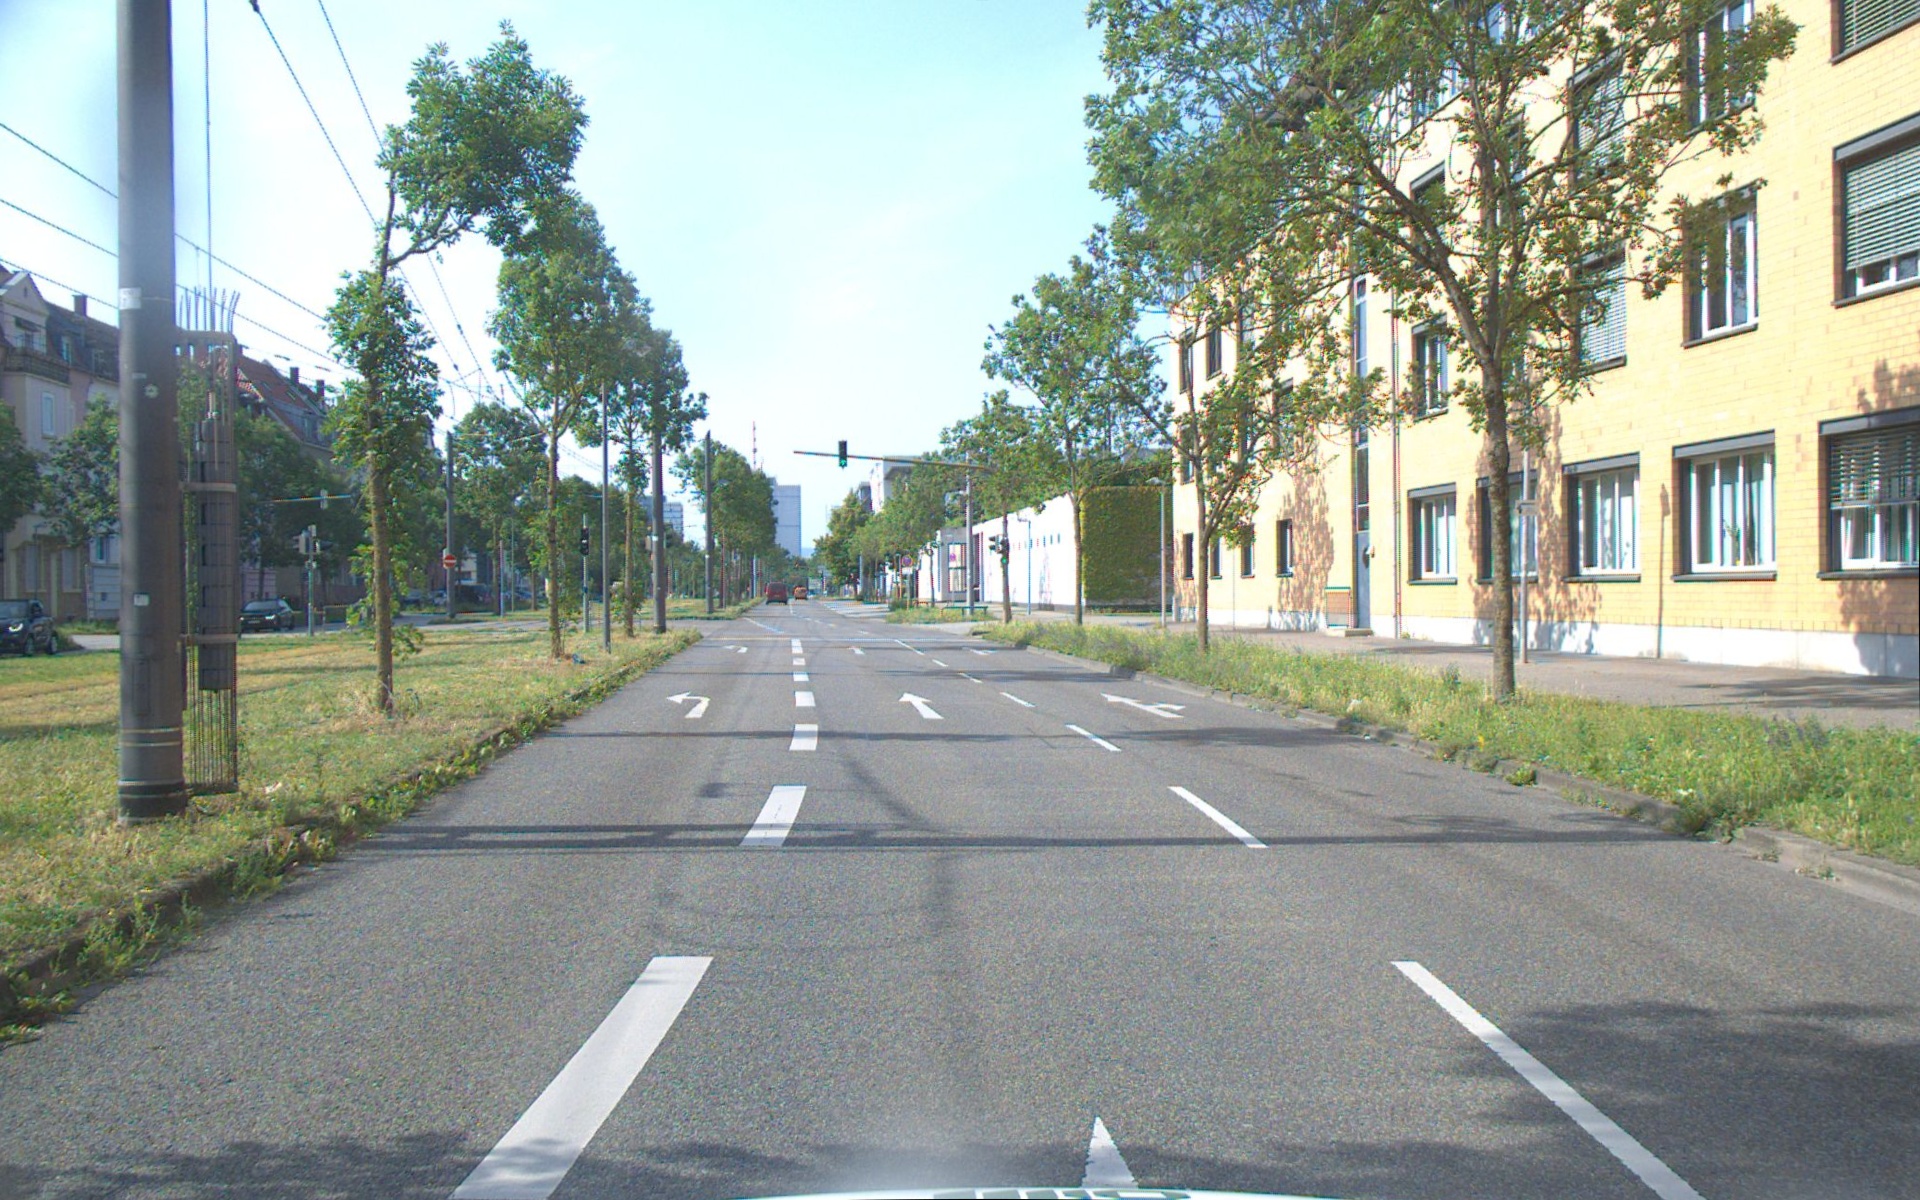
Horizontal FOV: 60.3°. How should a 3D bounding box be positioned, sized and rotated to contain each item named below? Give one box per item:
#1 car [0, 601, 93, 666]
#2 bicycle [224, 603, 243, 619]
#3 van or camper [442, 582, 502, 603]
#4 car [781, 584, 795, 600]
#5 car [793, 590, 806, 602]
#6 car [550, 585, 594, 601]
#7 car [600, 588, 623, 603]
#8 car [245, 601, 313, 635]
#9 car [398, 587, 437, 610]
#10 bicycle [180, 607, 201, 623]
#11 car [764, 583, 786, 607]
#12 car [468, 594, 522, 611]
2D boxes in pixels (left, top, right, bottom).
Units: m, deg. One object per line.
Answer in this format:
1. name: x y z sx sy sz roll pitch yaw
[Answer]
1. car: -25.539 0.873 45.306 1.730 1.684 3.995 1 0 -5
2. bicycle: -40.572 0.616 92.412 0.439 0.872 1.944 1 0 -7
3. van or camper: -41.058 -0.624 139.144 4.740 1.652 2.000 1 0 27
4. car: -22.932 -1.044 220.762 1.714 2.049 3.212 1 0 -5
5. car: -21.835 -0.550 225.597 1.714 1.679 3.212 1 0 -5
6. car: -47.651 -0.862 203.216 5.208 1.768 1.997 1 0 28
7. car: -41.783 -0.551 198.414 1.925 1.723 4.295 1 0 -2
8. car: -30.577 0.805 74.382 1.778 1.458 3.920 1 0 -7
9. car: -41.212 -0.107 125.825 1.956 1.657 4.767 1 0 -8
10. bicycle: -39.851 0.787 85.684 0.429 0.803 1.944 1 0 -7
11. car: -16.017 -0.426 143.240 1.714 2.049 3.212 1 0 -5
12. car: -40.169 0.212 142.860 4.380 1.444 1.971 1 0 31
